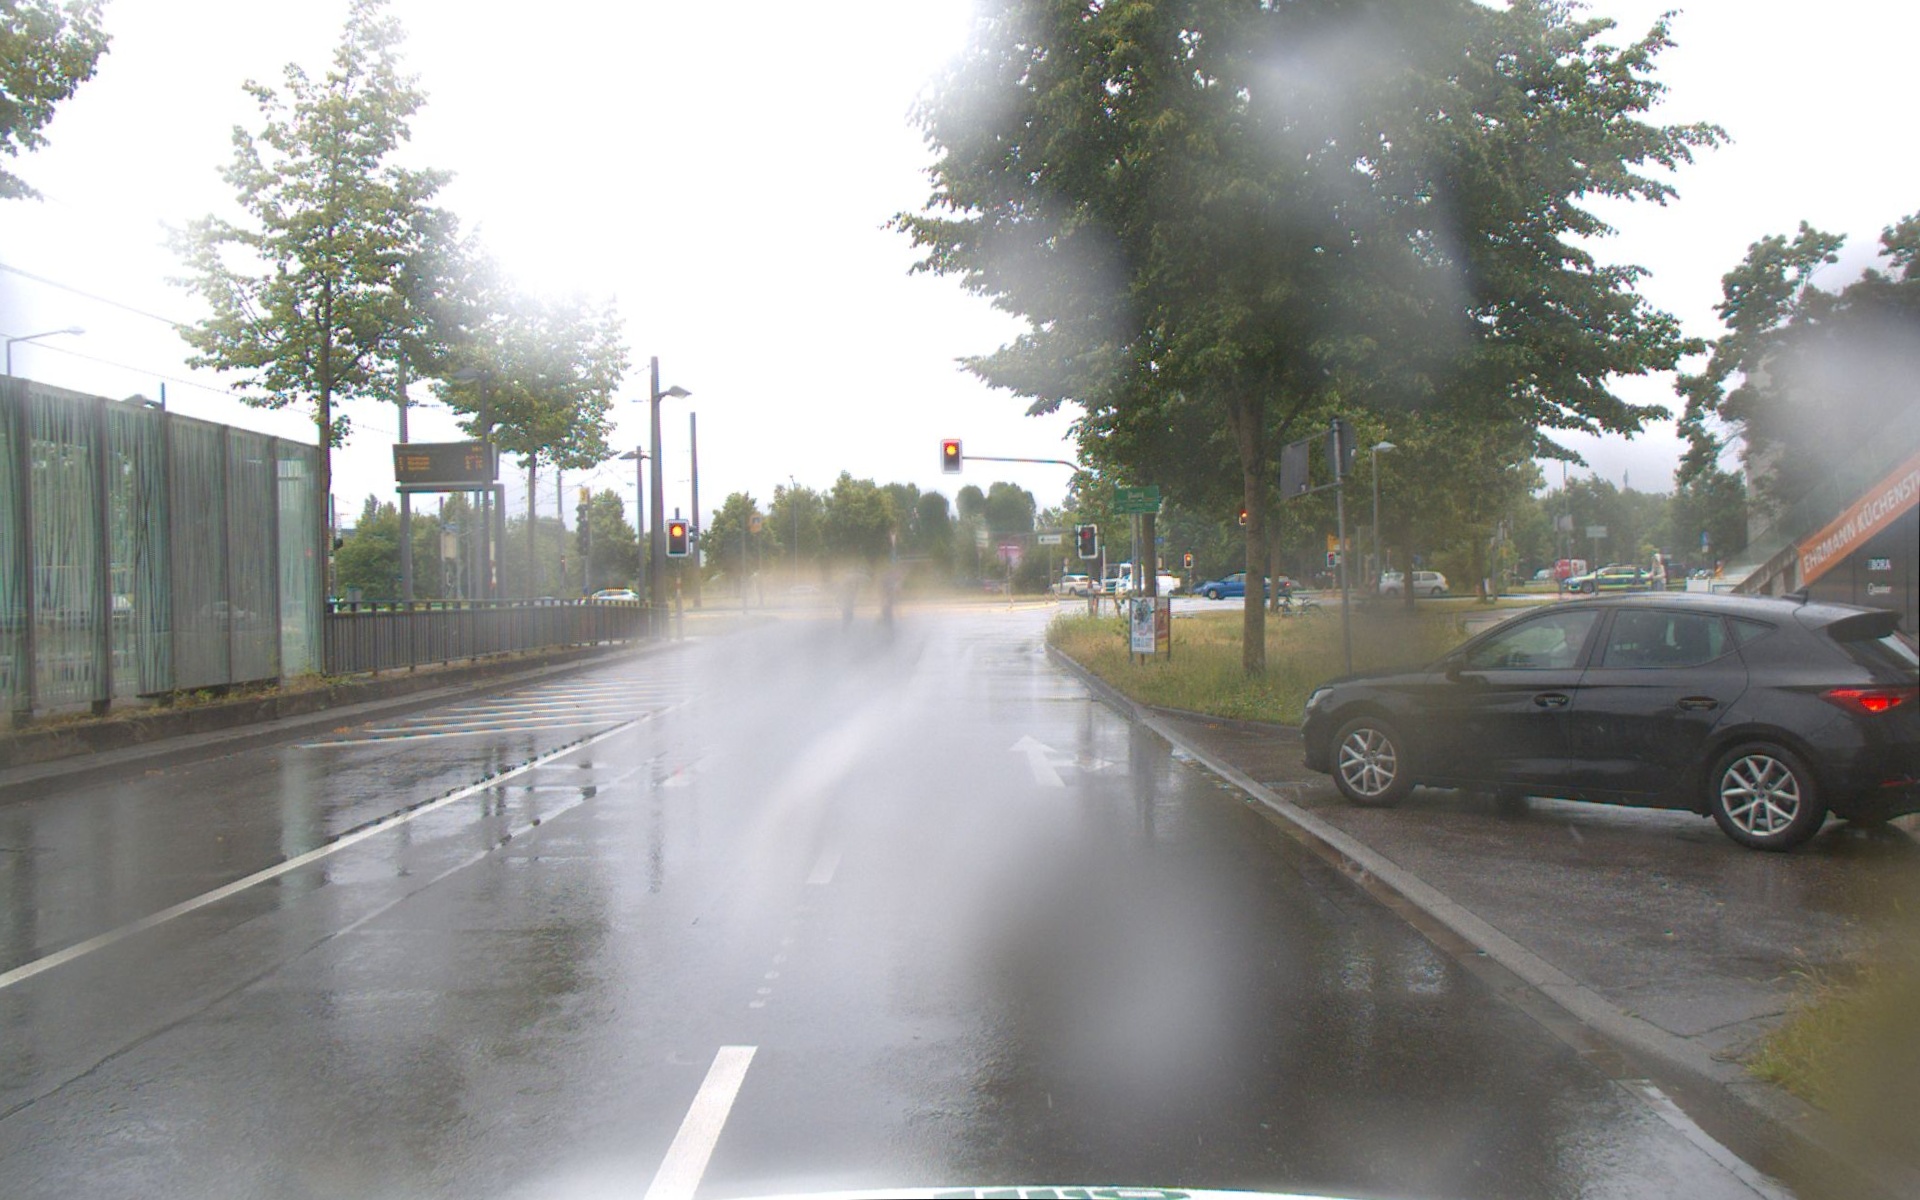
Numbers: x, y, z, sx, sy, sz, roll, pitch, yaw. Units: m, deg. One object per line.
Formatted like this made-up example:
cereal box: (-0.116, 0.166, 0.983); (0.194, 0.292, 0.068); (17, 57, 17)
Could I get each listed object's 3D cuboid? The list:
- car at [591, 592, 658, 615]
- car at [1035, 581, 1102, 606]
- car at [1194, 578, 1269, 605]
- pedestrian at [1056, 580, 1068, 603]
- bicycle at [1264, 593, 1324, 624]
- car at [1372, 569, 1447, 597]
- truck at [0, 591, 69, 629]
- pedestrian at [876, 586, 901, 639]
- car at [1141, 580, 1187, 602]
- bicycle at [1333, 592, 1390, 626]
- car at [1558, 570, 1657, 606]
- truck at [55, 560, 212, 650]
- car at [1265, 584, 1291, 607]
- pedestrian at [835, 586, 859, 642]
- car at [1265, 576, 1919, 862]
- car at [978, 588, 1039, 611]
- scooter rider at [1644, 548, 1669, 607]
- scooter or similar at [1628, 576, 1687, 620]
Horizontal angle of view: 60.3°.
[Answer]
car: (-23.797, 0.225, 117.256); (4.536, 1.479, 1.615); (-1, 0, -18)
car: (6.776, -0.378, 103.530); (4.041, 1.479, 1.613); (-1, 1, 43)
car: (15.370, -0.471, 93.759); (3.898, 1.479, 1.621); (-1, 0, 29)
pedestrian: (5.816, -0.488, 94.066); (0.445, 1.327, 0.483); (-1, 0, 40)
bicycle: (8.869, 0.221, 43.992); (0.375, 0.800, 1.838); (1, 0, -32)
car: (24.896, -0.927, 91.735); (3.889, 1.479, 1.625); (-1, 0, 10)
truck: (-51.591, 0.566, 91.212); (1.795, 2.049, 3.996); (1, 0, 26)
pedestrian: (-2.045, 0.361, 47.116); (0.666, 1.486, 0.573); (-2, -1, -4)
car: (17.002, -0.760, 137.700); (1.770, 1.691, 4.110); (1, -1, 42)
bicycle: (9.998, 0.220, 41.246); (0.445, 0.800, 2.000); (1, 0, -15)
car: (35.752, -0.657, 91.390); (4.666, 1.883, 1.998); (-1, 0, -4)
truck: (-37.055, 0.183, 73.965); (9.006, 3.844, 2.683); (1, -1, 38)
car: (21.149, -0.293, 109.924); (1.583, 1.479, 3.991); (-1, 1, 13)
pedestrian: (-3.141, 0.380, 45.920); (0.608, 1.549, 0.741); (1, 0, -1)
car: (4.264, 0.594, 10.784); (1.817, 1.444, 4.280); (-3, 2, -41)
car: (3.219, -0.005, 110.101); (3.914, 1.479, 1.615); (-1, 1, 41)
scooter rider: (20.662, -0.666, 49.070); (0.521, 1.739, 0.434); (-2, 0, -5)
scooter or similar: (20.683, -0.056, 49.051); (1.554, 1.281, 0.447); (1, -1, -5)
